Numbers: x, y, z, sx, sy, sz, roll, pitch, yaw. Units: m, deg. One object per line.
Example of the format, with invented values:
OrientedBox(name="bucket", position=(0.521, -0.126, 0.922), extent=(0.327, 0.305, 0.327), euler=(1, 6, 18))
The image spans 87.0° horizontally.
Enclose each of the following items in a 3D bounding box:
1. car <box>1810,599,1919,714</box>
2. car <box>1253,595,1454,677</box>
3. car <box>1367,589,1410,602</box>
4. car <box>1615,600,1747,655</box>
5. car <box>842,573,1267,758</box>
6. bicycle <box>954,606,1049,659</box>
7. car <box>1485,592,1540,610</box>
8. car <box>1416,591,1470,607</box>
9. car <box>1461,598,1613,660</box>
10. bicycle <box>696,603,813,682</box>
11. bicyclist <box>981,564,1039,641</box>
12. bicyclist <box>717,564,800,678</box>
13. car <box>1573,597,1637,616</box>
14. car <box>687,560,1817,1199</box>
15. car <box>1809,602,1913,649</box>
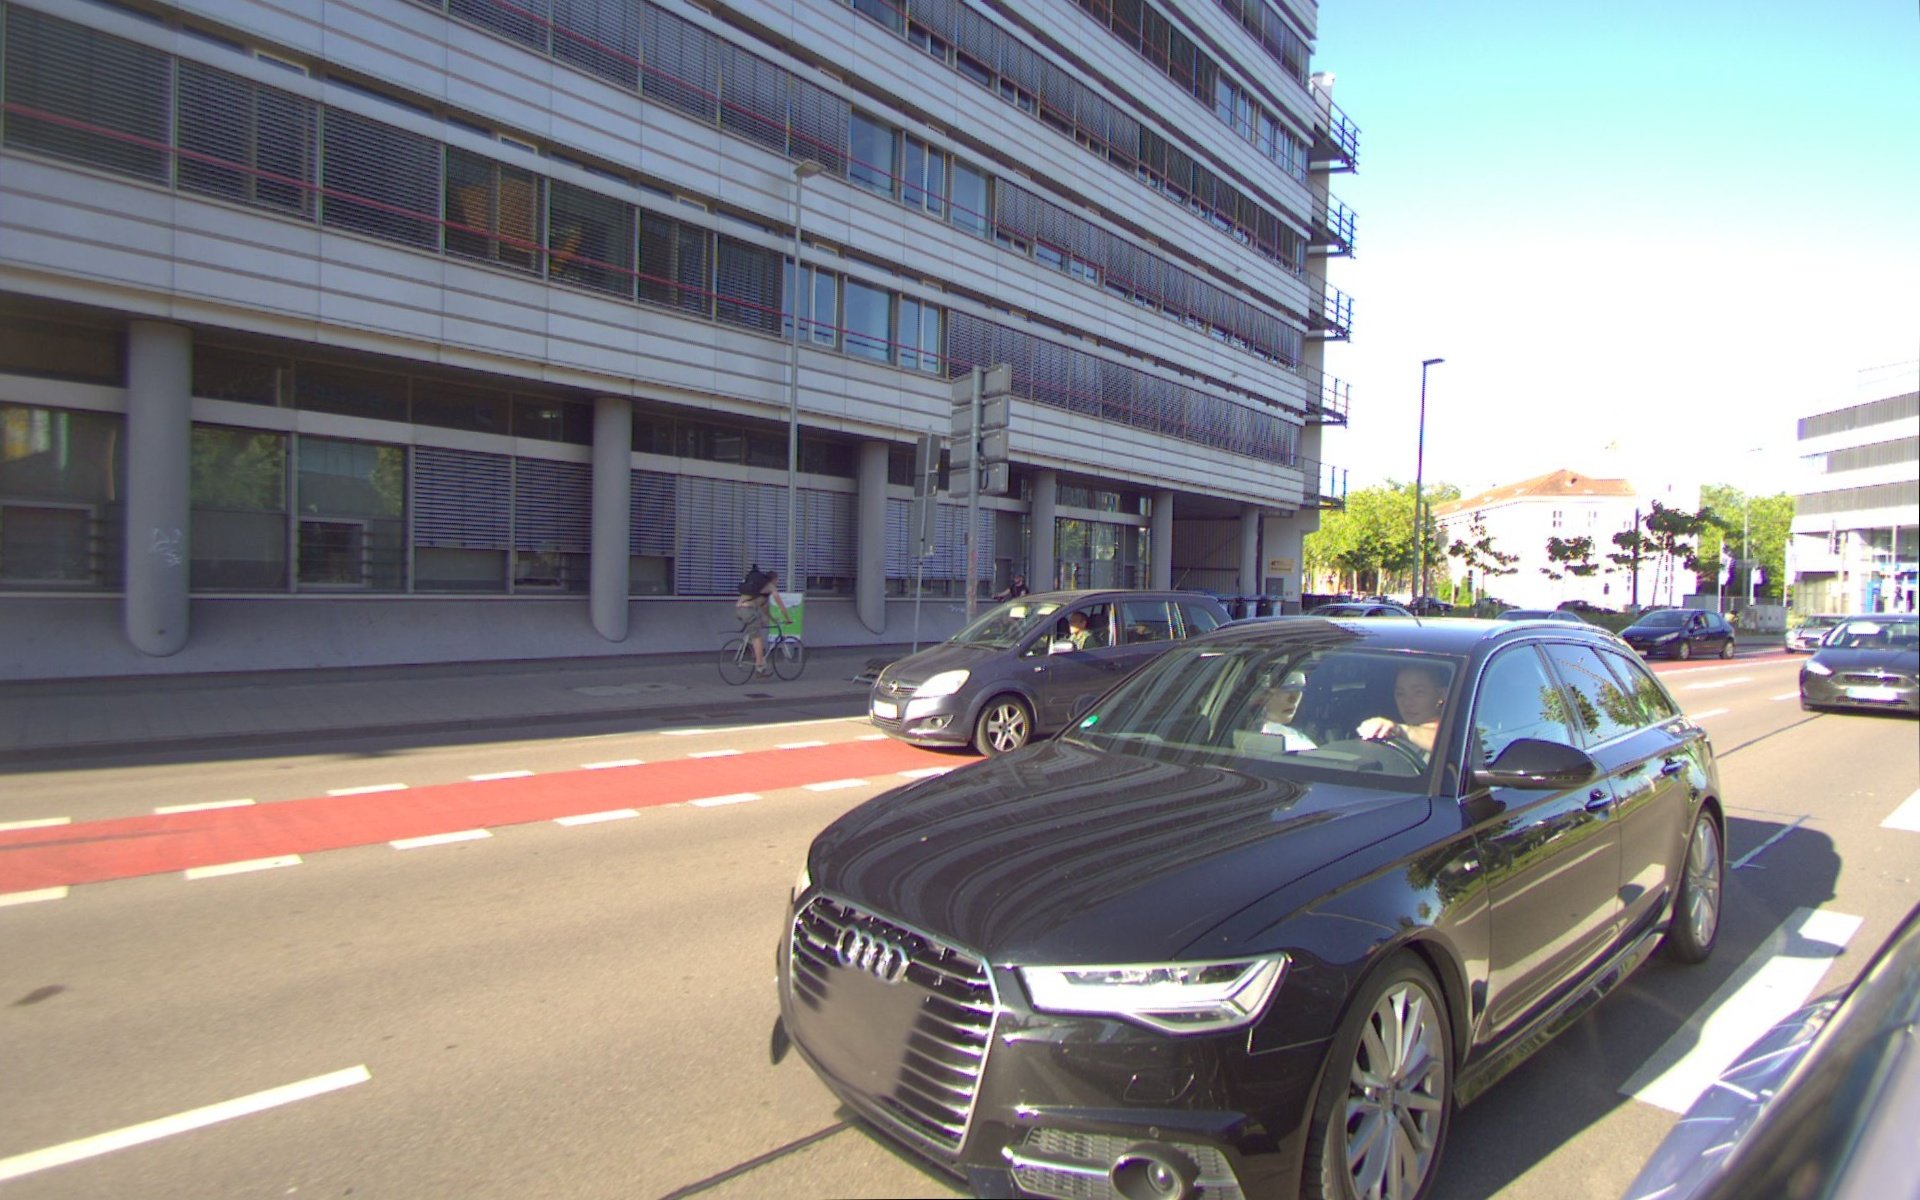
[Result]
OrientedBox(name="car", position=(14.089, 0.759, 14.979), extent=(4.081, 1.451, 1.689), euler=(-1, 2, -41))
OrientedBox(name="car", position=(8.062, 0.663, 20.573), extent=(4.405, 1.449, 1.756), euler=(0, 1, -37))
OrientedBox(name="car", position=(44.303, -0.486, 104.621), extent=(1.958, 1.259, 4.009), euler=(1, 1, -17))
OrientedBox(name="car", position=(21.473, 0.768, 30.112), extent=(3.920, 1.464, 1.739), euler=(-1, 1, -30))
OrientedBox(name="car", position=(1.094, 0.581, 10.904), extent=(4.373, 1.649, 1.695), euler=(0, 1, -30))
OrientedBox(name="bicycle", position=(0.890, 0.668, 21.204), extent=(2.165, 1.045, 0.500), euler=(0, 1, -38))
OrientedBox(name="car", position=(49.765, 0.079, 91.239), extent=(1.958, 1.440, 4.008), euler=(1, 1, -23))
OrientedBox(name="car", position=(46.775, -0.084, 98.113), extent=(1.958, 1.440, 4.536), euler=(1, 1, -21))
OrientedBox(name="car", position=(14.676, 0.721, 25.702), extent=(4.031, 1.460, 1.716), euler=(1, -1, -33))
OrientedBox(name="bicycle", position=(-3.057, 0.615, 15.158), extent=(1.672, 1.070, 0.505), euler=(-1, 4, -41))
OrientedBox(name="bicyclist", position=(1.050, 0.039, 21.322), extent=(1.024, 1.586, 0.626), euler=(1, 1, -36))
OrientedBox(name="bicyclist", position=(-3.015, 0.296, 15.145), extent=(0.974, 1.638, 0.685), euler=(1, 1, -41))
OrientedBox(name="car", position=(53.300, 0.500, 83.695), extent=(1.958, 1.440, 4.008), euler=(1, 1, -23))
OrientedBox(name="car", position=(1.436, 0.707, 3.795), extent=(4.413, 1.511, 1.815), euler=(0, -1, -38))
OrientedBox(name="car", position=(30.937, 0.877, 34.721), extent=(3.919, 1.463, 1.442), euler=(2, 1, -30))
